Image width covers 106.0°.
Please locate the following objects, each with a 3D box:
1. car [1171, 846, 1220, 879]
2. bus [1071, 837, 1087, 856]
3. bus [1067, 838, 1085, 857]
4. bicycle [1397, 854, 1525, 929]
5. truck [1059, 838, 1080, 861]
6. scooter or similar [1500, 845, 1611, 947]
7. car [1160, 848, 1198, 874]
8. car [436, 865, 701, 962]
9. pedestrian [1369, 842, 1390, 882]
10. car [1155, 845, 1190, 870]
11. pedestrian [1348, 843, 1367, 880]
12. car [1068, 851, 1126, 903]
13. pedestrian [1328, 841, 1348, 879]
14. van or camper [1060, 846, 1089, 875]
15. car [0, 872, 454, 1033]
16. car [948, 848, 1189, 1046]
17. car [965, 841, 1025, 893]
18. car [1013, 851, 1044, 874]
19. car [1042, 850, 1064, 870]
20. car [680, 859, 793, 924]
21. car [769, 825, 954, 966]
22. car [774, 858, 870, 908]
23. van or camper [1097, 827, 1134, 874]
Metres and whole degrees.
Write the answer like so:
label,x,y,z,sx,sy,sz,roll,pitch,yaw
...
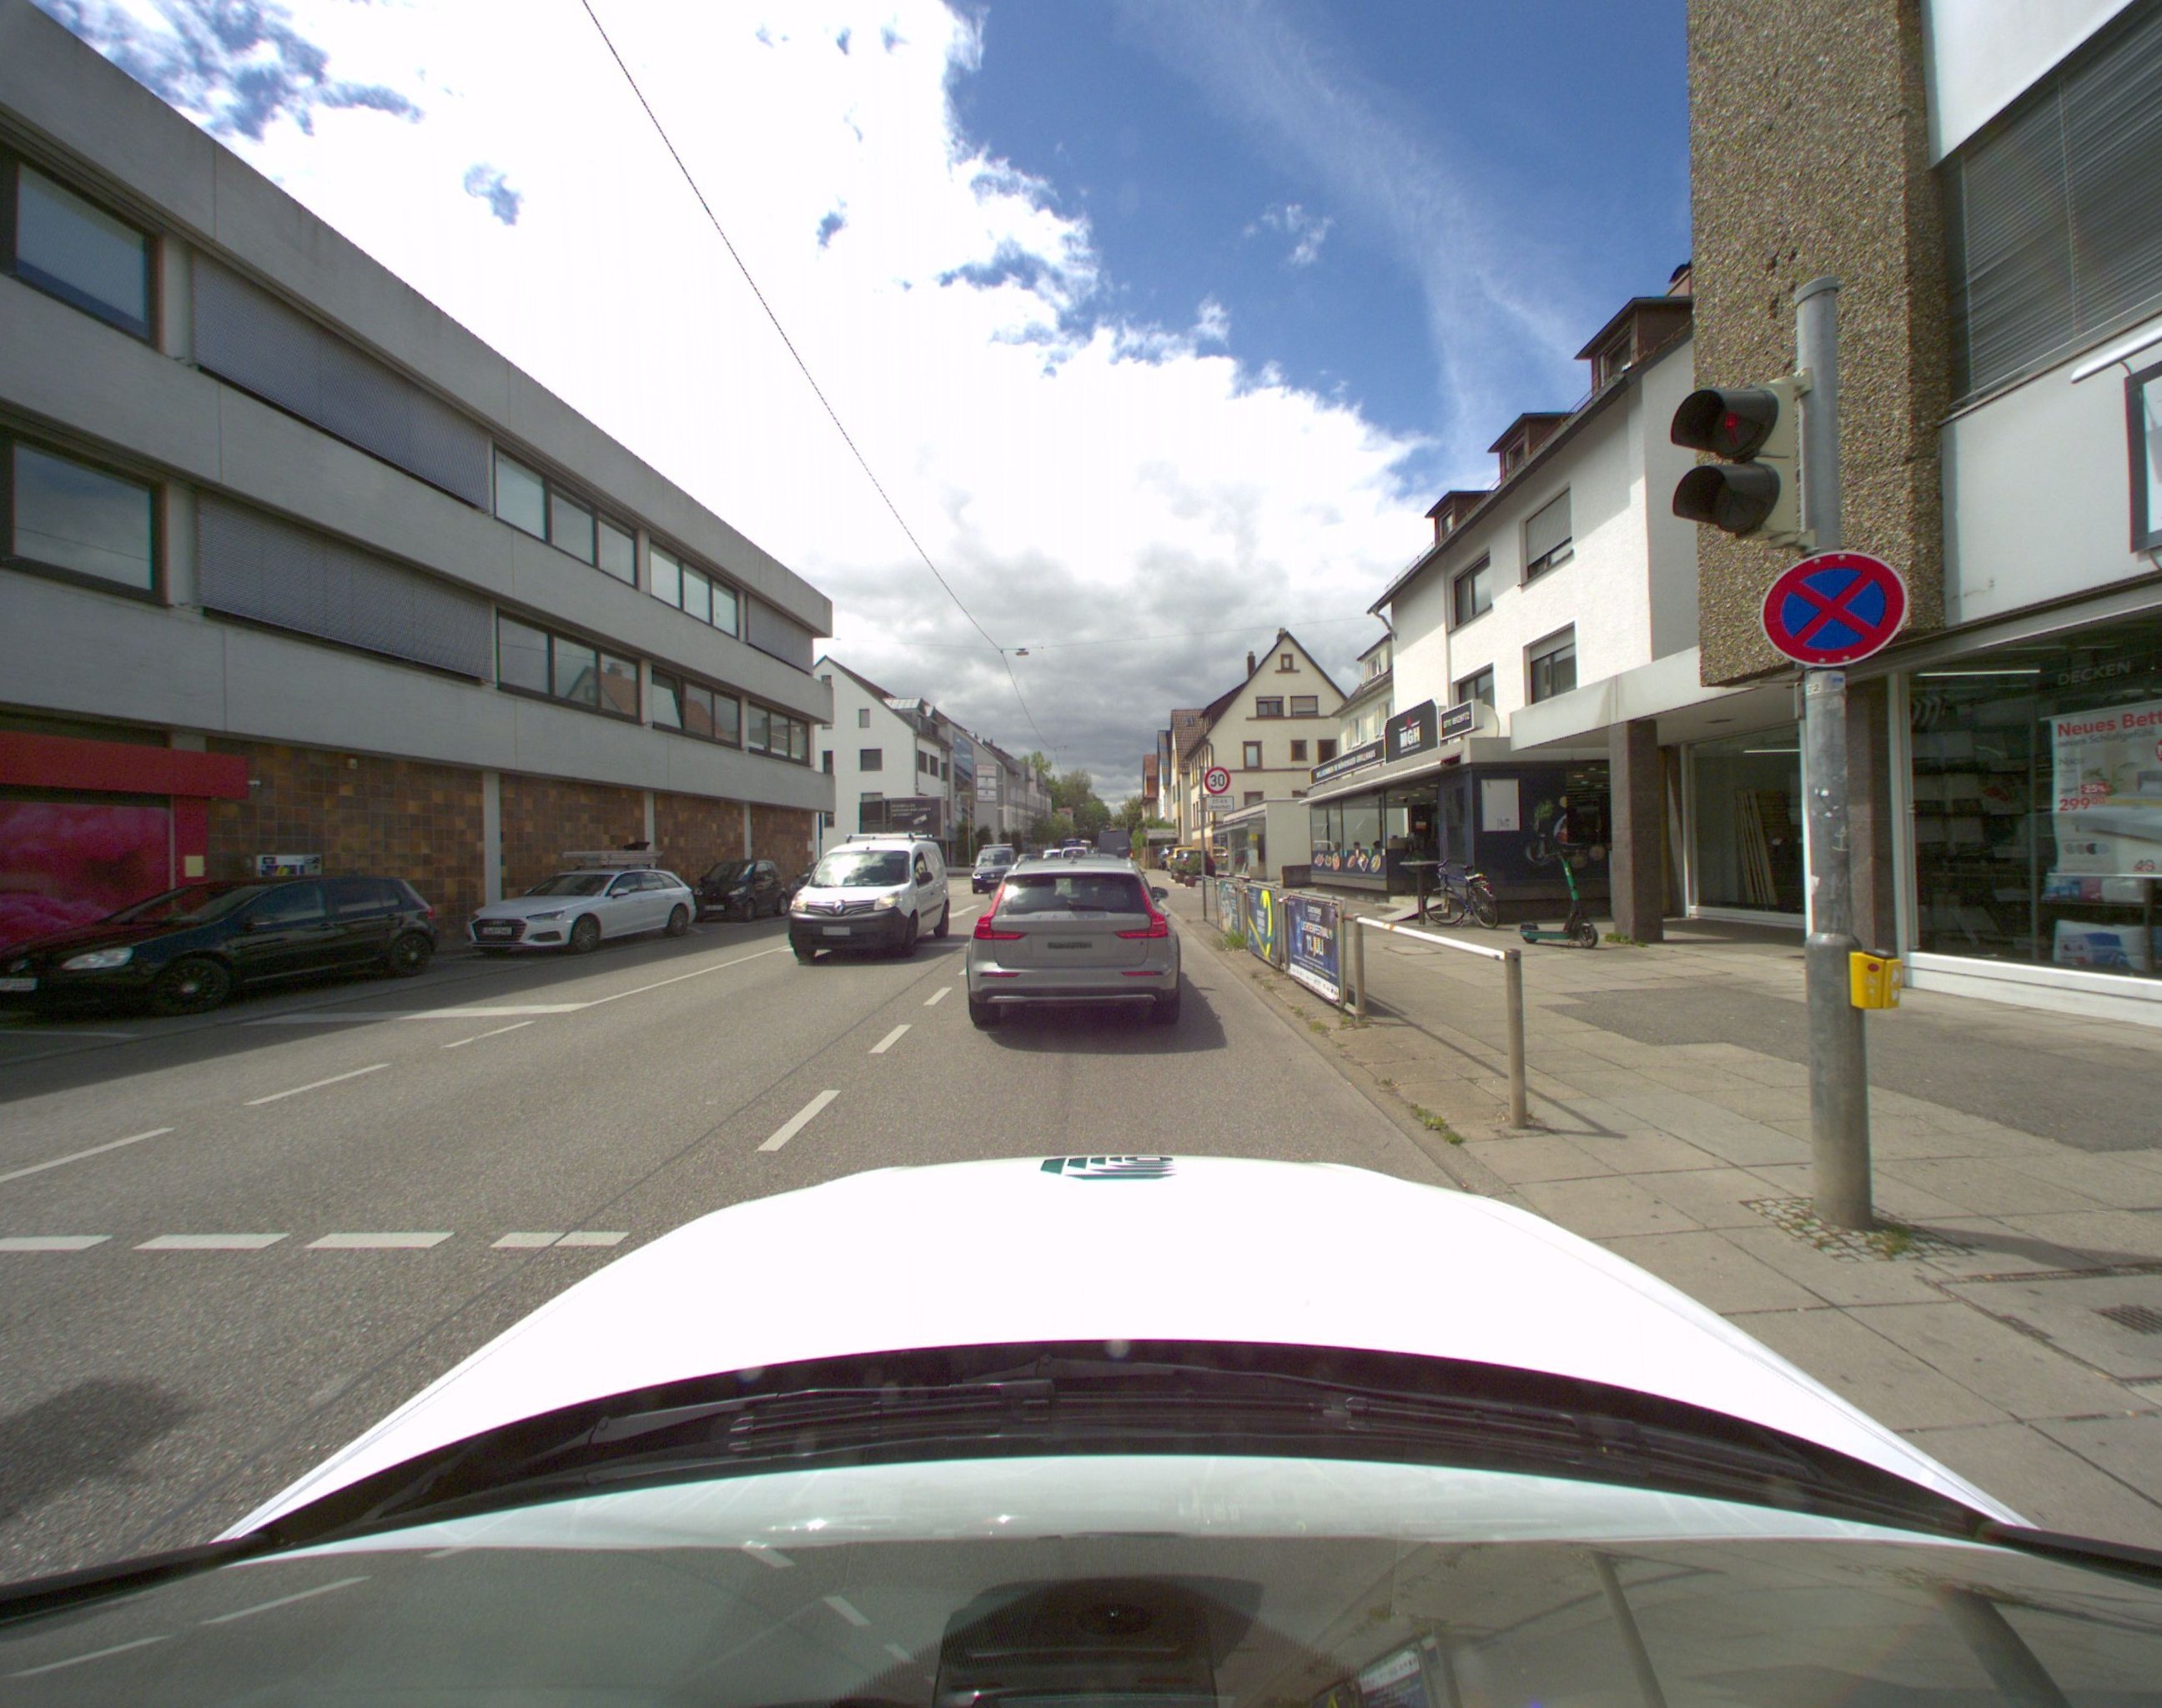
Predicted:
label,x,y,z,sx,sy,sz,roll,pitch,yaw
car,5.404,0.408,38.793,1.705,1.464,3.998,-1,-1,-1
bus,-0.269,-1.246,131.053,2.267,2.901,7.083,-2,0,2
bus,-0.767,-1.047,122.761,2.267,2.668,7.433,-2,0,2
bicycle,6.331,0.587,13.735,0.556,1.144,2.287,-3,0,-16
truck,-1.461,-0.603,107.638,2.267,2.886,7.082,-2,0,2
scooter or similar,6.266,0.549,10.814,0.342,1.253,1.235,-4,-1,-25
car,5.703,0.425,47.841,1.875,1.416,3.973,-1,-1,2
car,-9.317,0.989,15.361,1.895,1.443,4.450,0,0,5
pedestrian,8.209,0.217,22.376,0.413,1.052,0.367,-2,0,-1
car,5.837,0.239,52.364,1.875,1.500,3.973,-1,-1,2
pedestrian,8.005,0.213,23.580,0.413,1.052,0.367,-2,0,-1
car,0.490,0.663,25.509,1.645,1.482,3.607,-1,0,1
pedestrian,7.310,0.172,23.164,0.413,1.052,0.367,-2,0,-1
van or camper,-0.395,0.448,55.111,1.813,1.835,4.000,-2,-2,1
car,-10.279,1.000,9.996,1.776,1.464,4.092,0,0,5
car,-0.071,0.723,8.322,1.829,1.486,4.000,-2,0,1
car,-3.433,0.494,33.316,1.832,1.917,4.531,-3,0,1
car,-3.623,0.560,56.724,1.756,1.426,4.001,-2,0,1
car,-2.664,0.613,77.488,1.791,1.816,4.001,-1,-1,2
car,-8.889,0.915,21.257,1.601,1.543,2.946,0,1,2
car,-3.363,0.582,13.363,1.832,1.917,4.156,-1,0,1
car,-8.664,0.921,27.587,1.748,1.426,3.866,-2,0,4
van or camper,2.129,-0.237,50.633,2.115,2.686,4.783,-2,0,2
